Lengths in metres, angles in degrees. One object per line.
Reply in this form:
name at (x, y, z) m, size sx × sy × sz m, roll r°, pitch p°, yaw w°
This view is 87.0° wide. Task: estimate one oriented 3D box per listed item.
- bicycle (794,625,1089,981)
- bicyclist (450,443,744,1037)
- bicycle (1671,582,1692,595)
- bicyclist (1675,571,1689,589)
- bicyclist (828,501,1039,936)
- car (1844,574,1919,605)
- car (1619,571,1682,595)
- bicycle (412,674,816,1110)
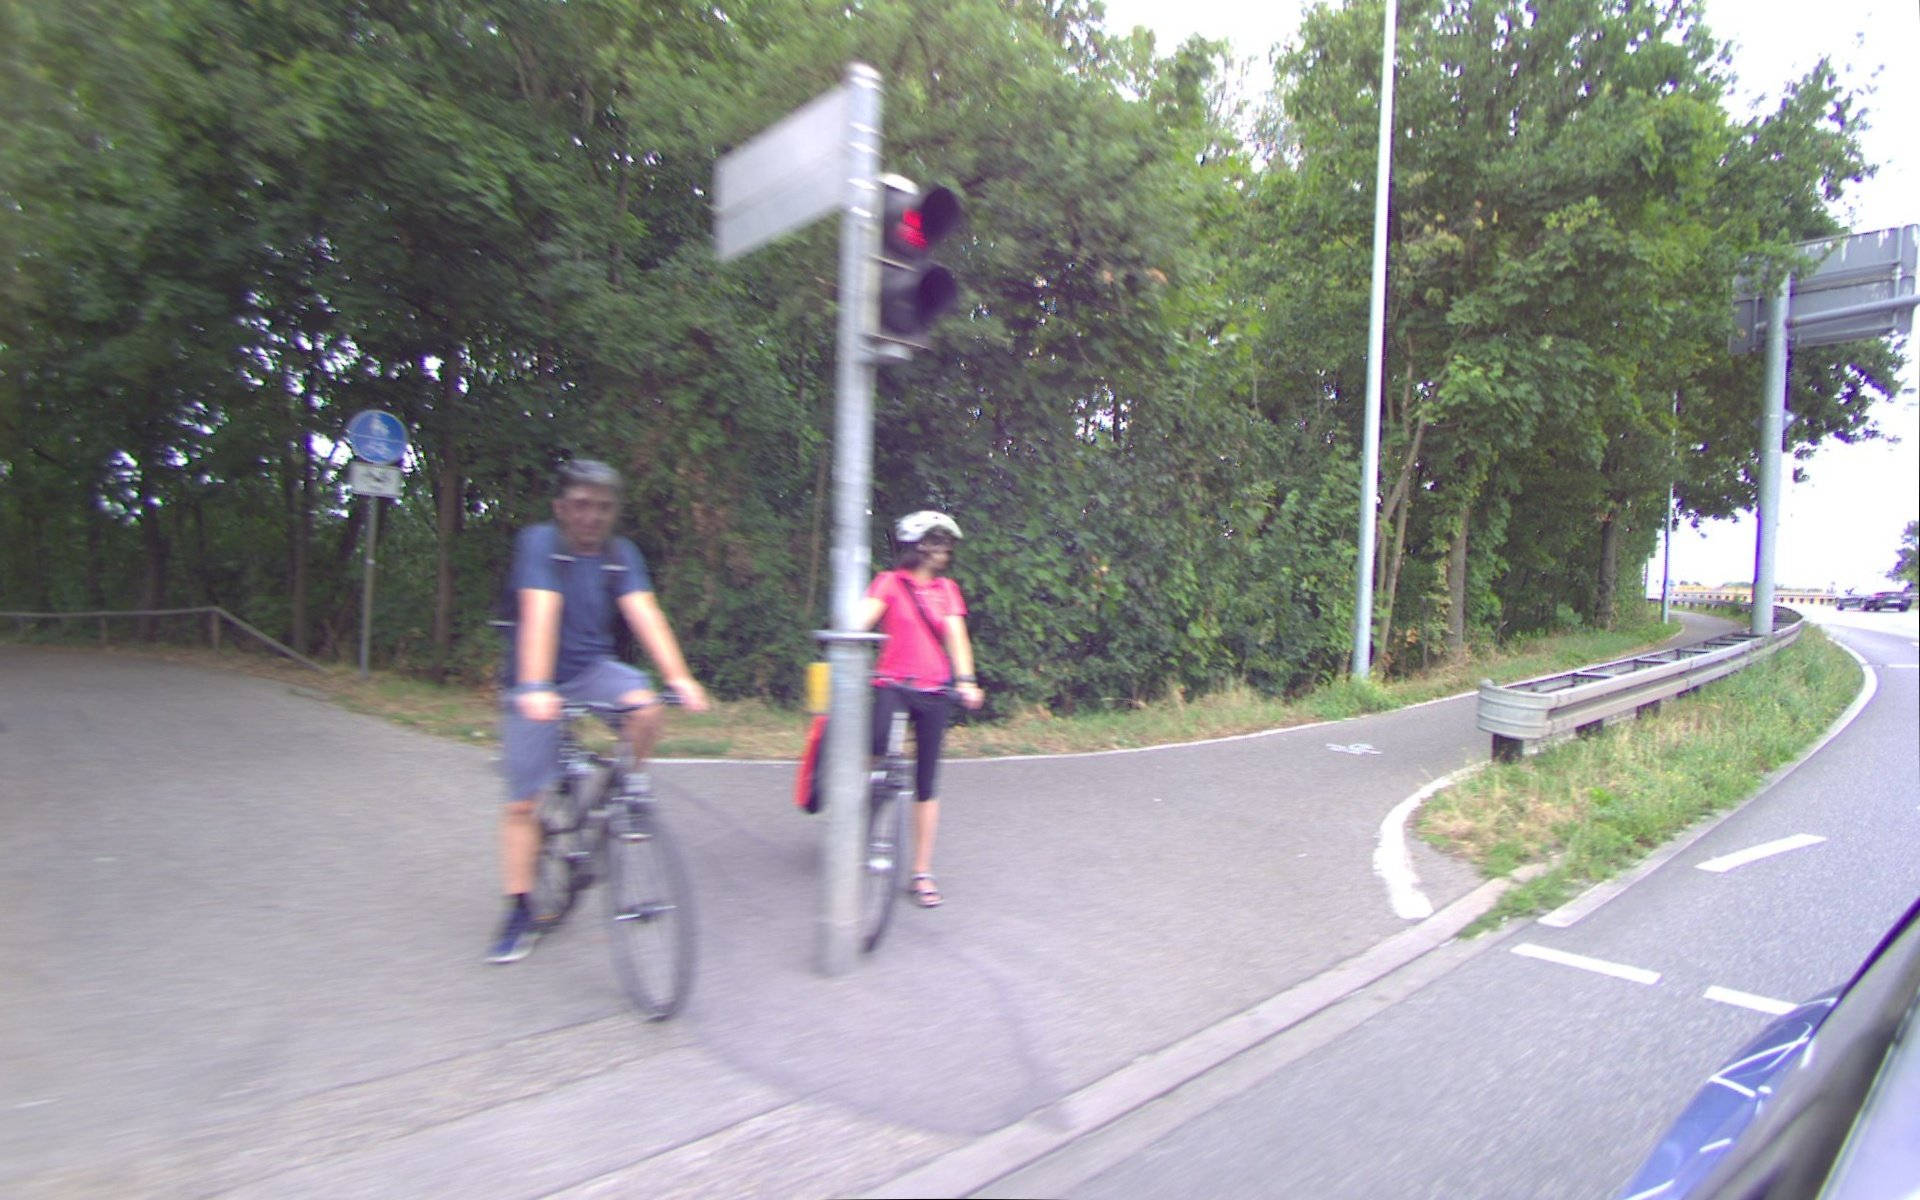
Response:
bicycle at (-0.182, 0.772, 4.640) m, size 0.618 × 1.152 × 1.751 m, roll 0°, pitch 4°, yaw -27°
bicyclist at (-1.356, 0.412, 3.723) m, size 0.653 × 1.866 × 0.950 m, roll 0°, pitch 4°, yaw -44°
bicycle at (61.859, -0.989, 86.798) m, size 0.485 × 1.058 × 1.810 m, roll 0°, pitch 1°, yaw 0°
bicyclist at (61.908, -1.702, 86.738) m, size 0.600 × 1.559 × 0.757 m, roll 0°, pitch 1°, yaw 0°
bicyclist at (-0.147, 0.461, 4.580) m, size 0.624 × 1.753 × 0.855 m, roll 0°, pitch 2°, yaw -27°
car at (46.740, -0.564, 50.978) m, size 1.978 × 1.473 × 4.618 m, roll 1°, pitch 1°, yaw 23°
car at (48.561, -1.218, 71.237) m, size 1.905 × 1.474 × 3.882 m, roll 4°, pitch 2°, yaw 5°
bicycle at (-1.385, 0.884, 3.753) m, size 0.650 × 0.952 × 1.974 m, roll 0°, pitch 4°, yaw -43°
